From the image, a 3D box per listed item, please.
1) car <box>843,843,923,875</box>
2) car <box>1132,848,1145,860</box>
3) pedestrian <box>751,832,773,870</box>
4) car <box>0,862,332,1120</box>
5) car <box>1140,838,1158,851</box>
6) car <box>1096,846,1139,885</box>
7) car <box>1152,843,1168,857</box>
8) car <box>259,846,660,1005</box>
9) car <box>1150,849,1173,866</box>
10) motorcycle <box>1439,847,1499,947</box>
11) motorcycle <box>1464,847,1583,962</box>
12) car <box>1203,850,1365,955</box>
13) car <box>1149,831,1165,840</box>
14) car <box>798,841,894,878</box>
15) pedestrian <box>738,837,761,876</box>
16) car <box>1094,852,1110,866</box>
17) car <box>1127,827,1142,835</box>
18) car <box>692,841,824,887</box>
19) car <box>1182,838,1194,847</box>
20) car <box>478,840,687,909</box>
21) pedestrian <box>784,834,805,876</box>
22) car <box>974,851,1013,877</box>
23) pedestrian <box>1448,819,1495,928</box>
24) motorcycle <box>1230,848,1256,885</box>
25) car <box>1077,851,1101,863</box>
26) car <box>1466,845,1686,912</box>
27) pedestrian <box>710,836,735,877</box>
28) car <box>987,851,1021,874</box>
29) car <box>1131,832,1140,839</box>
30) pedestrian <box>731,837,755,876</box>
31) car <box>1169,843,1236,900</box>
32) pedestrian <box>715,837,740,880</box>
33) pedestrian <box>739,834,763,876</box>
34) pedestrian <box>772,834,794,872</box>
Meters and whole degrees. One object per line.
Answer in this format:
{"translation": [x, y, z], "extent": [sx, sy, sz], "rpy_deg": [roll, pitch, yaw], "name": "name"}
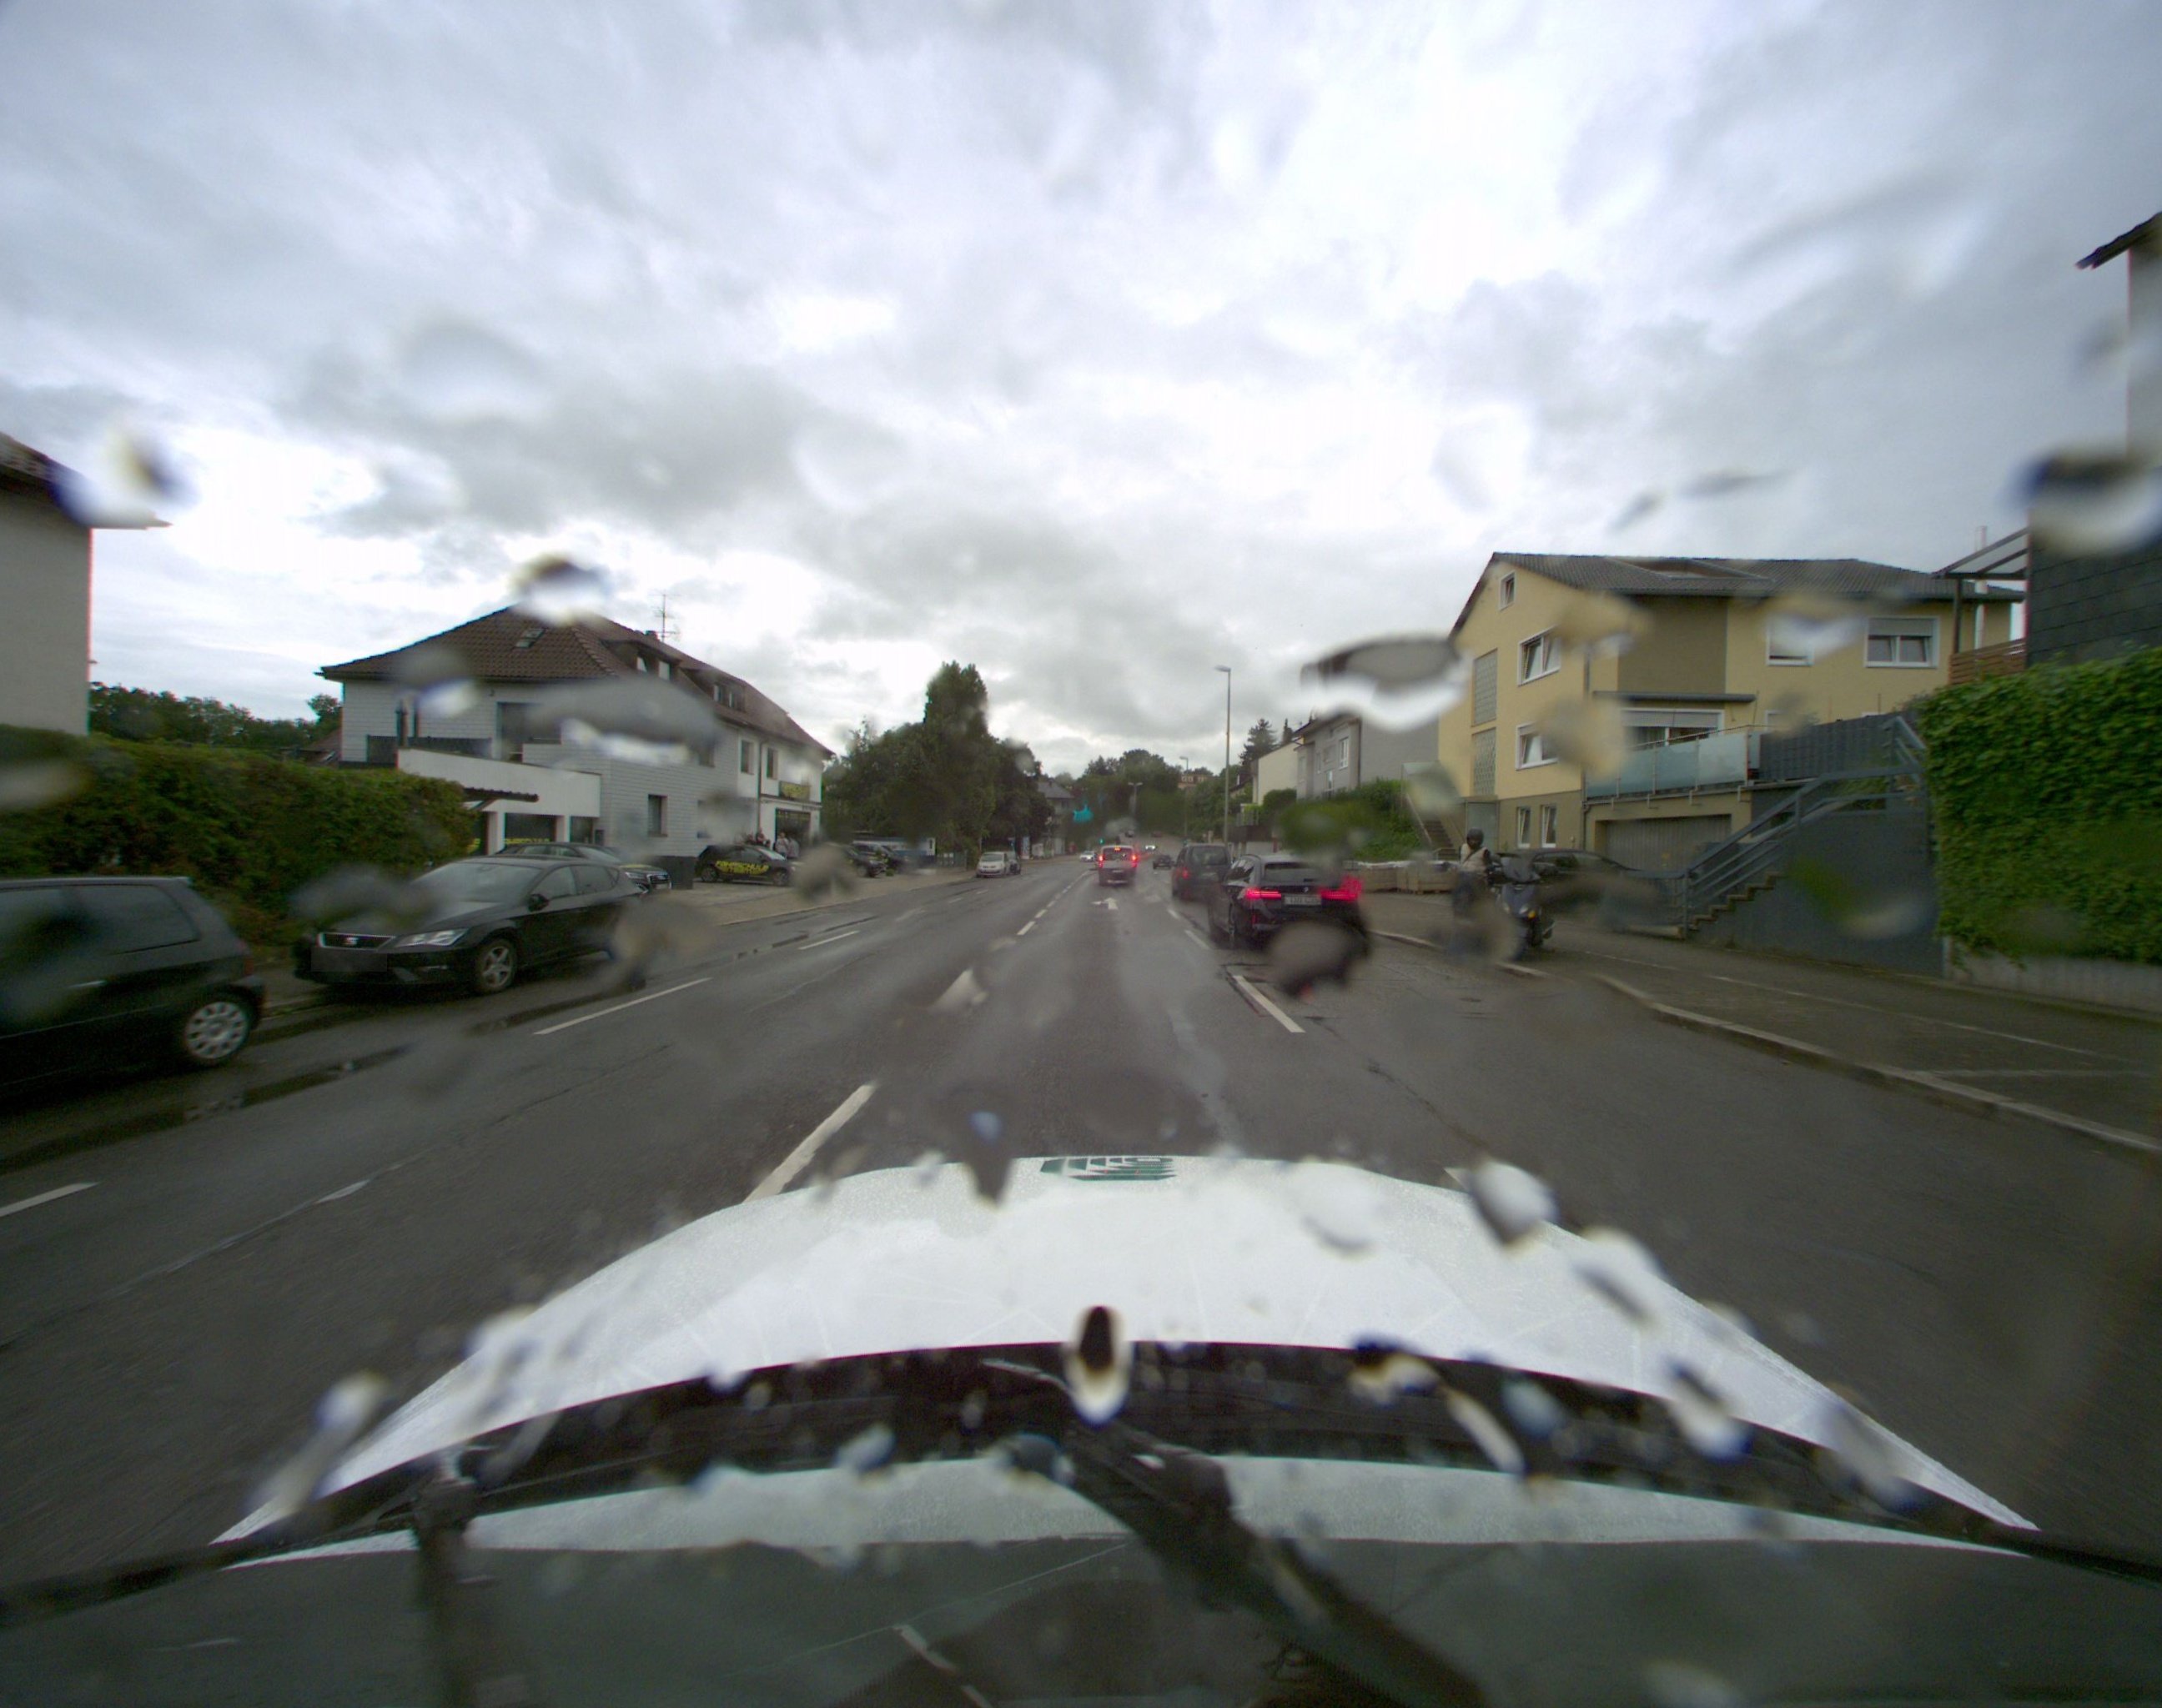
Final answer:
{"translation": [-11.424, 0.291, 47.166], "extent": [4.058, 1.516, 1.856], "rpy_deg": [4, 0, 1], "name": "car"}
{"translation": [9.394, 0.001, 132.281], "extent": [1.986, 1.772, 4.002], "rpy_deg": [0, 0, 2], "name": "car"}
{"translation": [-14.476, -0.129, 36.927], "extent": [0.597, 1.665, 0.651], "rpy_deg": [3, 0, 6], "name": "pedestrian"}
{"translation": [-6.893, 0.787, 4.658], "extent": [1.547, 1.431, 4.012], "rpy_deg": [1, 0, -1], "name": "car"}
{"translation": [12.517, -1.710, 150.073], "extent": [2.516, 2.013, 5.604], "rpy_deg": [1, 3, -3], "name": "car"}
{"translation": [1.750, 0.534, 39.246], "extent": [1.986, 1.737, 4.002], "rpy_deg": [1, 0, 2], "name": "car"}
{"translation": [13.226, -0.729, 136.203], "extent": [2.510, 2.013, 5.617], "rpy_deg": [1, 3, 4], "name": "car"}
{"translation": [-7.111, 0.702, 10.012], "extent": [1.752, 1.532, 4.206], "rpy_deg": [1, 0, -2], "name": "car"}
{"translation": [7.709, 0.311, 78.477], "extent": [1.986, 1.578, 4.002], "rpy_deg": [0, 0, 2], "name": "car"}
{"translation": [6.162, 0.627, 12.878], "extent": [0.749, 1.450, 2.102], "rpy_deg": [0, 0, 28], "name": "motorcycle"}
{"translation": [6.204, 0.633, 11.357], "extent": [2.101, 1.450, 0.812], "rpy_deg": [-1, 1, -42], "name": "motorcycle"}
{"translation": [3.238, 0.701, 13.788], "extent": [1.985, 1.484, 4.004], "rpy_deg": [1, 0, 4], "name": "car"}
{"translation": [17.998, -4.363, 192.778], "extent": [2.522, 2.013, 5.590], "rpy_deg": [0, 3, -10], "name": "car"}
{"translation": [-11.560, 0.275, 40.230], "extent": [4.058, 1.516, 1.856], "rpy_deg": [4, 0, 1], "name": "car"}
{"translation": [-14.638, 0.122, 35.964], "extent": [0.597, 1.665, 0.651], "rpy_deg": [3, 0, 6], "name": "pedestrian"}
{"translation": [2.763, 0.683, 105.996], "extent": [1.986, 1.772, 4.002], "rpy_deg": [1, 0, 2], "name": "car"}
{"translation": [13.973, -6.052, 214.142], "extent": [2.522, 2.013, 5.589], "rpy_deg": [1, 4, -11], "name": "car"}
{"translation": [-11.910, 0.357, 30.219], "extent": [4.058, 1.516, 1.856], "rpy_deg": [2, 0, 1], "name": "car"}
{"translation": [20.519, -2.149, 156.216], "extent": [1.986, 1.585, 4.002], "rpy_deg": [1, 0, 2], "name": "car"}
{"translation": [-12.235, 0.485, 20.170], "extent": [3.972, 1.516, 1.856], "rpy_deg": [2, 0, 1], "name": "car"}
{"translation": [-12.630, 0.027, 35.938], "extent": [0.599, 1.790, 0.649], "rpy_deg": [3, 0, -4], "name": "pedestrian"}
{"translation": [-5.464, 0.622, 51.337], "extent": [1.877, 1.585, 4.002], "rpy_deg": [1, 0, 2], "name": "car"}
{"translation": [6.185, 0.299, 12.884], "extent": [0.614, 1.649, 0.837], "rpy_deg": [0, 0, 28], "name": "pedestrian"}
{"translation": [6.937, 0.511, 34.890], "extent": [0.700, 1.509, 2.151], "rpy_deg": [-2, 0, 2], "name": "motorcycle"}
{"translation": [1.107, 0.410, 111.387], "extent": [1.978, 1.547, 4.416], "rpy_deg": [0, 0, 18], "name": "car"}
{"translation": [11.371, 0.543, 18.910], "extent": [3.974, 1.433, 1.869], "rpy_deg": [-1, 0, 0], "name": "car"}
{"translation": [-14.645, 0.099, 33.313], "extent": [0.597, 1.665, 0.651], "rpy_deg": [3, 0, 6], "name": "pedestrian"}
{"translation": [-5.412, 0.600, 57.972], "extent": [1.877, 1.585, 4.002], "rpy_deg": [1, 0, 2], "name": "car"}
{"translation": [12.905, -4.318, 191.664], "extent": [1.986, 1.585, 4.002], "rpy_deg": [1, 0, 2], "name": "car"}
{"translation": [-14.552, 0.102, 35.073], "extent": [0.597, 1.665, 0.651], "rpy_deg": [3, 0, 6], "name": "pedestrian"}
{"translation": [4.039, 0.548, 27.644], "extent": [1.831, 1.767, 4.002], "rpy_deg": [1, 0, 2], "name": "car"}
{"translation": [-14.134, 0.180, 32.586], "extent": [0.597, 1.665, 0.651], "rpy_deg": [3, 0, 6], "name": "pedestrian"}
{"translation": [-13.713, 0.040, 33.878], "extent": [0.597, 1.665, 0.651], "rpy_deg": [3, 0, 6], "name": "pedestrian"}
{"translation": [-13.426, -0.050, 36.724], "extent": [0.597, 1.665, 0.651], "rpy_deg": [3, 0, 10], "name": "pedestrian"}
